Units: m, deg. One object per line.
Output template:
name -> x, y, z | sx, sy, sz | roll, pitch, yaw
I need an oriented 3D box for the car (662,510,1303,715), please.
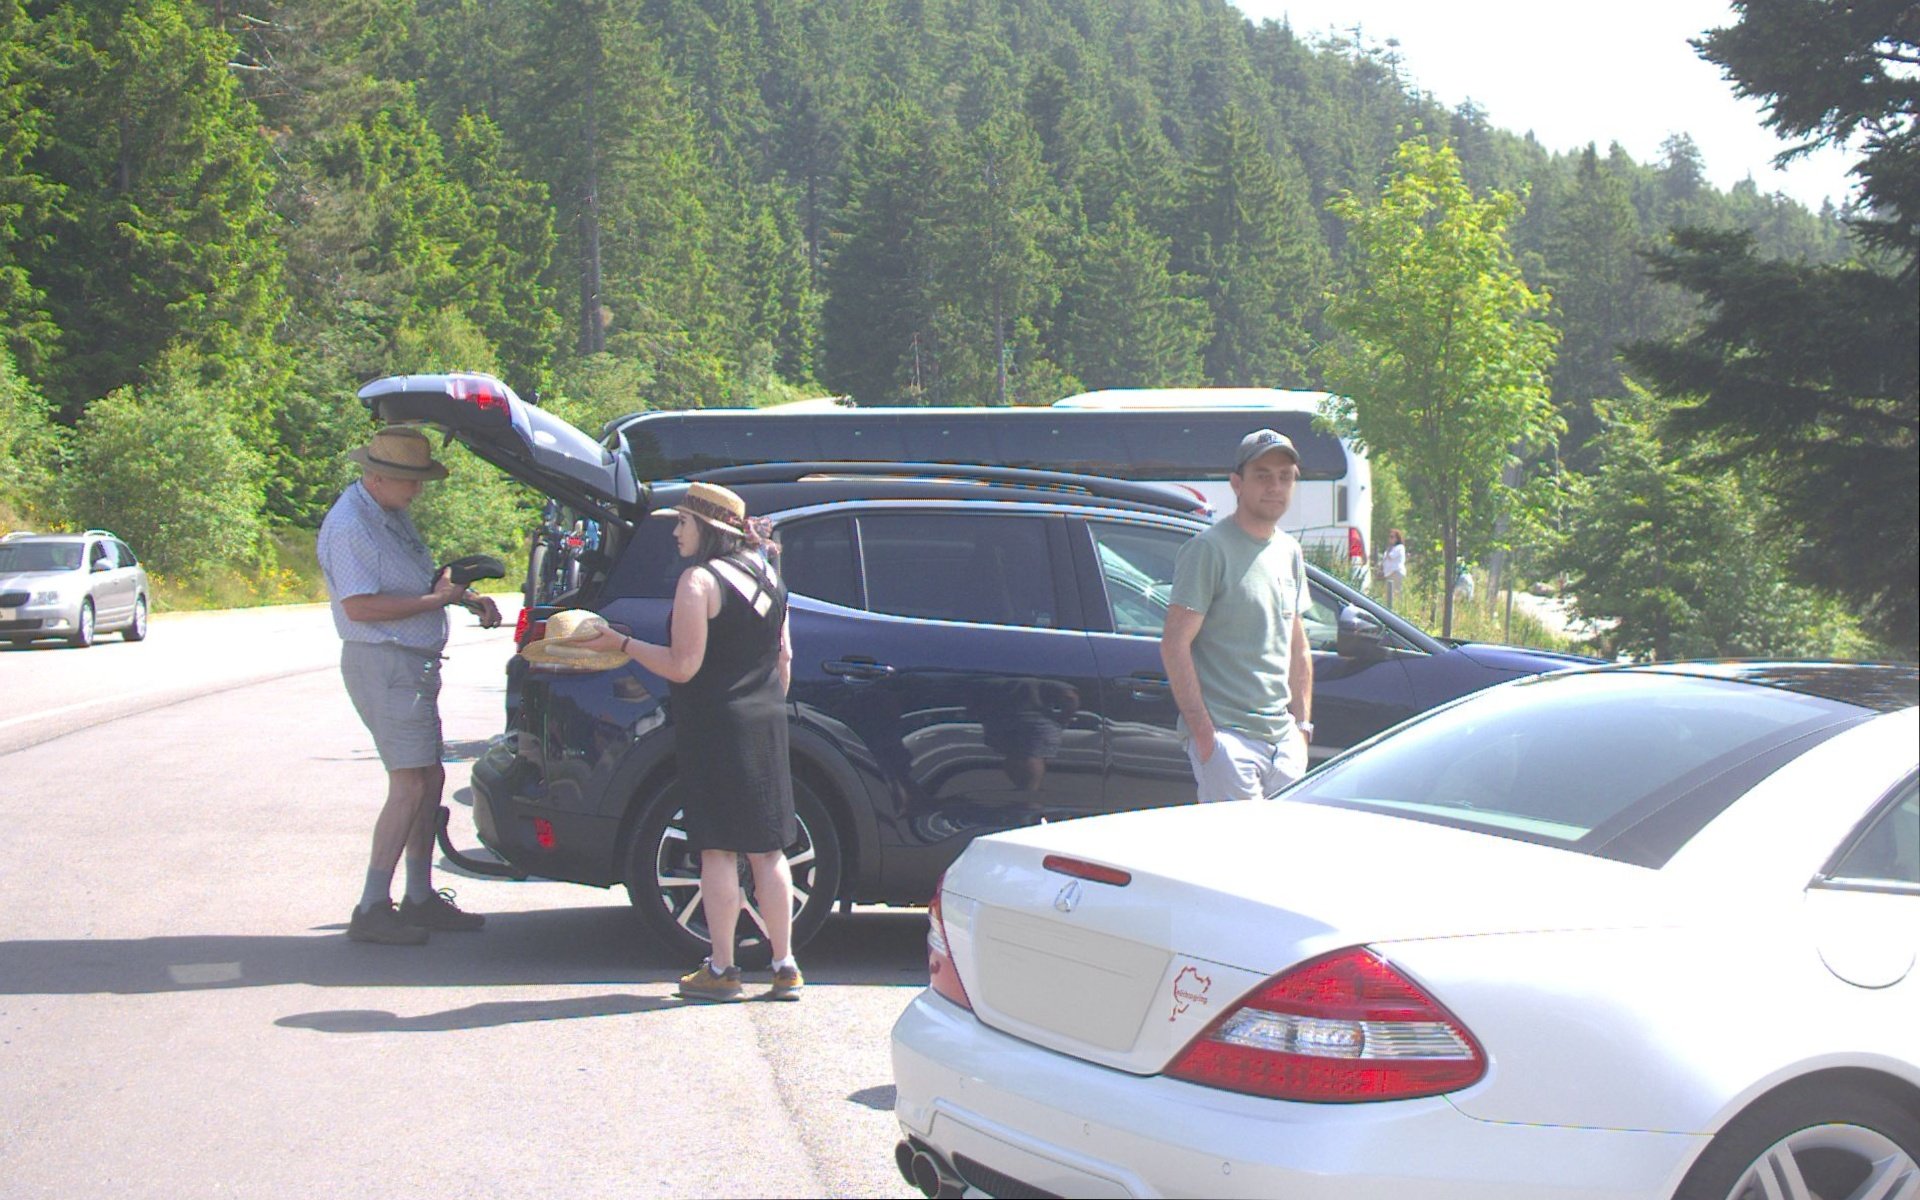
car -> 0.114, 0.054, 23.748 | 4.243, 1.264, 1.838 | -1, 1, -3

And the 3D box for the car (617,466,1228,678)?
car -> -0.353, -0.260, 29.529 | 5.033, 1.645, 2.048 | -1, 1, -3

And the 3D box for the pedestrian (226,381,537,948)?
pedestrian -> -1.989, 0.189, 11.843 | 0.736, 1.864, 0.757 | 3, 4, 27

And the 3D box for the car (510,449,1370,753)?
car -> -0.123, -0.021, 20.843 | 4.948, 1.690, 1.945 | -1, 1, -1

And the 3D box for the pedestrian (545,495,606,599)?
pedestrian -> -5.954, -0.826, 53.288 | 0.770, 1.579, 0.772 | -1, 1, 4

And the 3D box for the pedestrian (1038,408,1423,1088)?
pedestrian -> 0.749, 0.387, 9.580 | 0.746, 1.794, 0.736 | 1, 0, -35

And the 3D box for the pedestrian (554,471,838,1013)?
pedestrian -> -0.818, 0.422, 10.595 | 0.714, 1.607, 0.537 | 1, 0, -23

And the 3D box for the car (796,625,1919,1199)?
car -> 2.064, 0.776, 6.681 | 4.397, 1.291, 1.756 | 1, 2, -26

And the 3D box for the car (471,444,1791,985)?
car -> 0.488, 0.387, 12.211 | 4.343, 1.620, 1.870 | 2, 0, -8

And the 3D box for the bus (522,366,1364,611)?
bus -> -0.184, -1.749, 54.934 | 13.097, 3.520, 3.043 | -1, 1, 7

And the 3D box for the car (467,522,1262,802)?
car -> -0.578, 0.314, 18.609 | 4.080, 1.372, 1.703 | 1, 1, -9

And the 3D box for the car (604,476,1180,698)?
car -> -0.539, -0.120, 26.403 | 4.243, 1.548, 1.838 | -1, 1, -3

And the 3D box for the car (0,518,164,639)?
car -> -11.778, -0.321, 44.359 | 1.879, 1.469, 4.714 | 0, 1, 1

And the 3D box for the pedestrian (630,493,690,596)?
pedestrian -> -4.638, -0.864, 53.200 | 0.770, 1.579, 0.772 | -1, 1, 4
